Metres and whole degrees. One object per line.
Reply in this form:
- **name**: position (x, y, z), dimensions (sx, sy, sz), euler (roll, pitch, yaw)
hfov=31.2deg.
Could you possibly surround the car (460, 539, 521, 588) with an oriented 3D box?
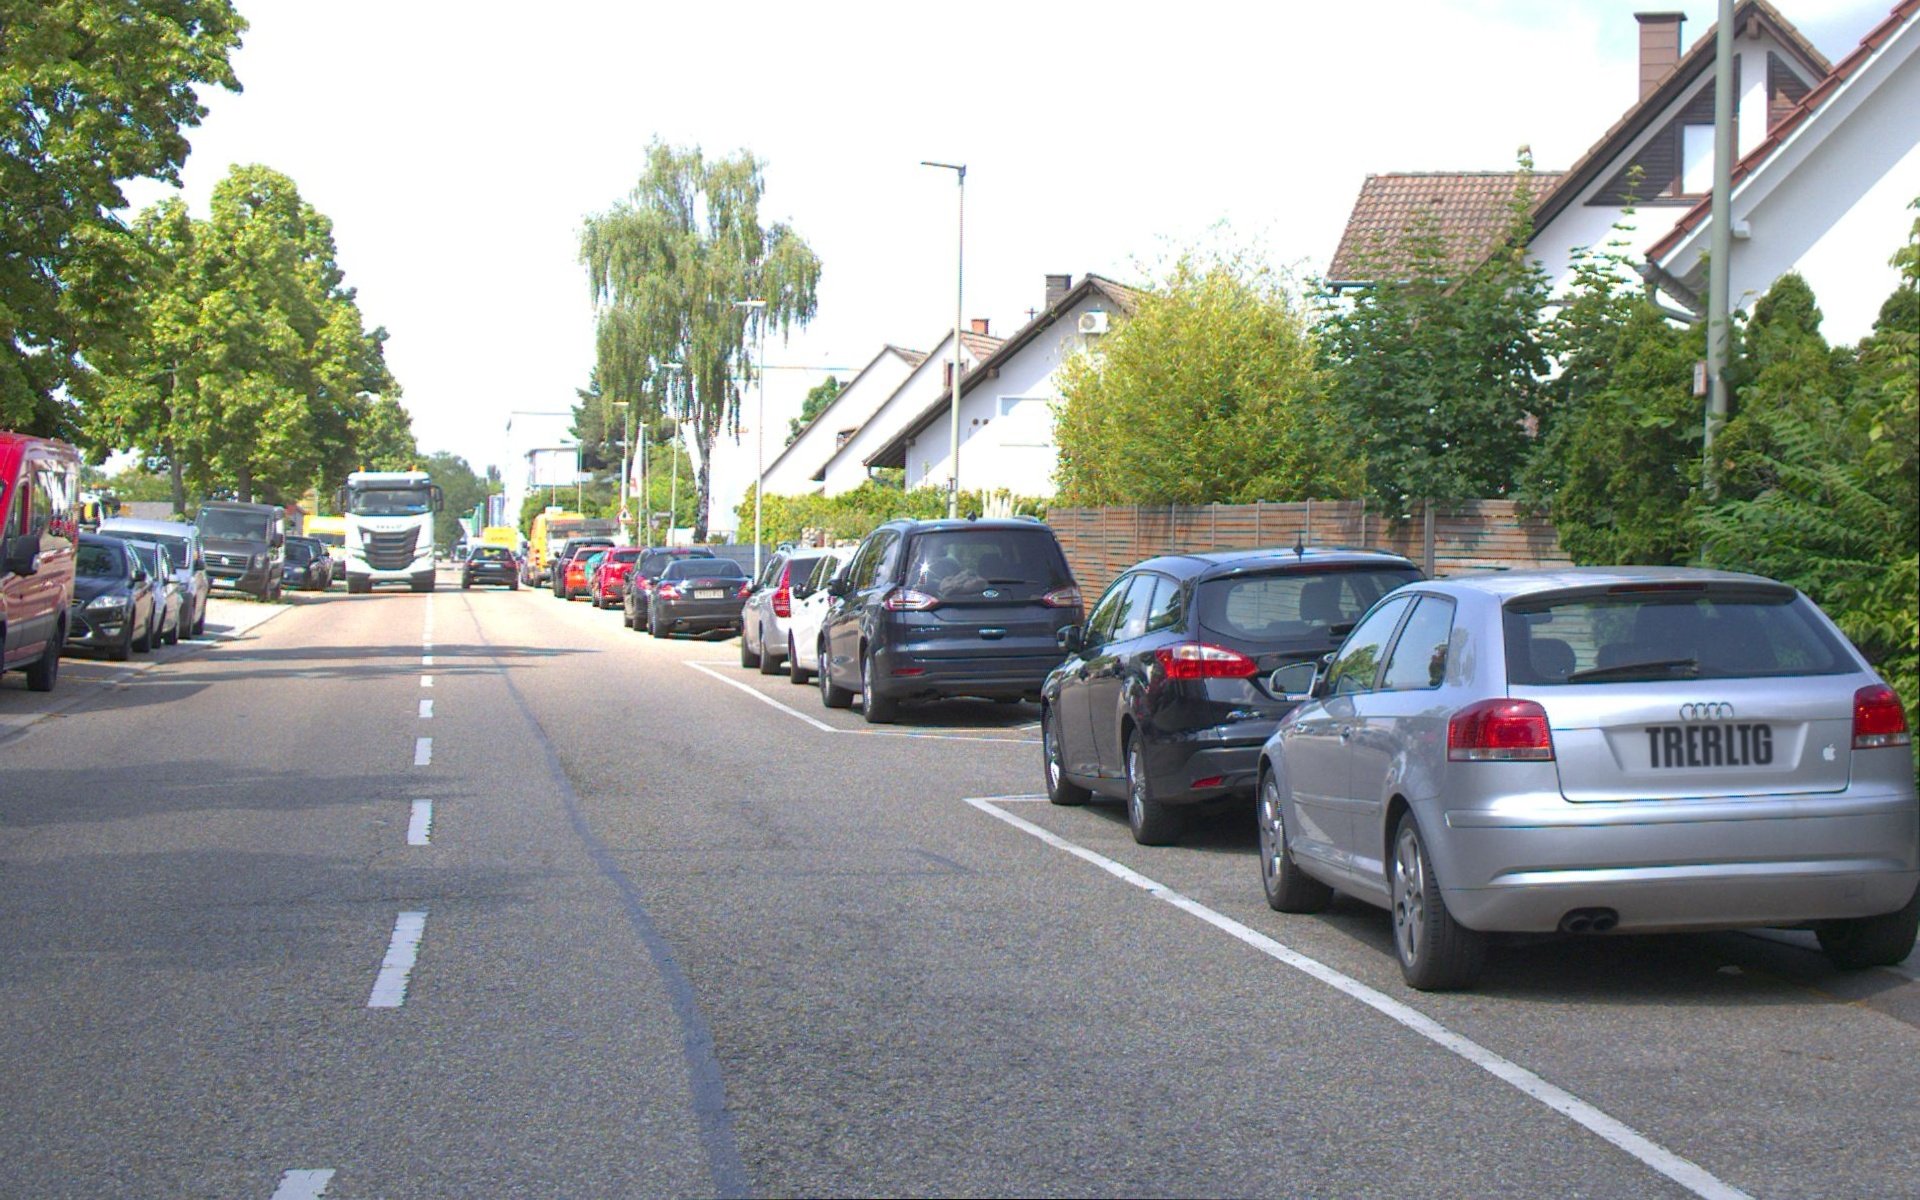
- **car**: position (-15.381, -1.193, 112.511), dimensions (1.794, 1.518, 4.533), euler (0, 1, -10)

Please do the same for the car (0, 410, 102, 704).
- **car**: position (-9.384, -0.497, 31.459), dimensions (2.063, 2.492, 5.842), euler (4, 1, -7)

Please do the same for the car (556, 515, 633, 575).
- **car**: position (-9.735, -1.482, 91.327), dimensions (1.794, 1.518, 4.533), euler (0, 1, -9)

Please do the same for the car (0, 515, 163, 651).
- **car**: position (-10.807, -0.247, 41.996), dimensions (1.786, 1.452, 4.437), euler (4, 0, -10)

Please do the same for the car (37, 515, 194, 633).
- **car**: position (-11.797, -0.389, 48.243), dimensions (1.786, 1.452, 4.437), euler (4, 0, -10)

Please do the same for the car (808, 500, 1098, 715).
- **car**: position (-0.150, 0.009, 30.296), dimensions (1.794, 1.742, 4.585), euler (0, 1, -10)

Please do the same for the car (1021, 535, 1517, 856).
- **car**: position (1.529, 0.420, 18.708), dimensions (1.737, 1.504, 4.477), euler (0, 1, -7)

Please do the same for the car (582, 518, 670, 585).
- **car**: position (-7.926, -1.176, 81.318), dimensions (1.794, 1.518, 4.533), euler (0, 1, -9)

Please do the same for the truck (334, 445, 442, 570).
- **truck**: position (-17.064, -2.763, 103.142), dimensions (2.862, 3.500, 12.358), euler (0, 1, -8)

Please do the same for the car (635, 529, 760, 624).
- **car**: position (-4.482, -0.428, 58.299), dimensions (1.794, 1.518, 3.974), euler (0, 1, -9)

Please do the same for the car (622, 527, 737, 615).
- **car**: position (-5.147, -0.551, 62.708), dimensions (1.794, 1.518, 3.974), euler (0, 1, -9)

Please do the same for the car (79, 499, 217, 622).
- **car**: position (-12.797, -0.651, 54.397), dimensions (1.786, 1.740, 4.437), euler (4, 0, -10)

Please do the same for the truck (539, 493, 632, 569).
- **truck**: position (-11.652, -2.160, 106.526), dimensions (2.567, 2.252, 6.537), euler (0, 1, -9)

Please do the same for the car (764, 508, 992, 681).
- **car**: position (-0.934, -0.100, 36.731), dimensions (1.794, 1.742, 3.975), euler (0, 1, -11)

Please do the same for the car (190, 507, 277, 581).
- **car**: position (-17.342, -1.343, 82.208), dimensions (1.786, 1.595, 4.437), euler (4, 0, -10)

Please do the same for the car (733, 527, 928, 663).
- **car**: position (-1.599, -0.093, 41.120), dimensions (1.794, 1.518, 3.974), euler (0, 1, -10)

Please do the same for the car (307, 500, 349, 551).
- **car**: position (-28.179, -3.311, 153.258), dimensions (1.786, 2.244, 4.774), euler (-1, 1, -10)

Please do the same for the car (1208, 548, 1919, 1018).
- **car**: position (2.161, 0.553, 13.143), dimensions (1.737, 1.452, 4.366), euler (0, 1, -5)

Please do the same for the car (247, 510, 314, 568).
- **car**: position (-20.380, -1.839, 103.253), dimensions (1.786, 1.595, 4.437), euler (4, 0, -10)

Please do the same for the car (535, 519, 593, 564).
- **car**: position (-14.136, -2.102, 122.650), dimensions (1.794, 1.518, 4.533), euler (0, 1, -10)

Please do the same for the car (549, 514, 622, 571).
- **car**: position (-10.457, -1.616, 95.864), dimensions (1.794, 1.518, 4.533), euler (0, 1, -9)
